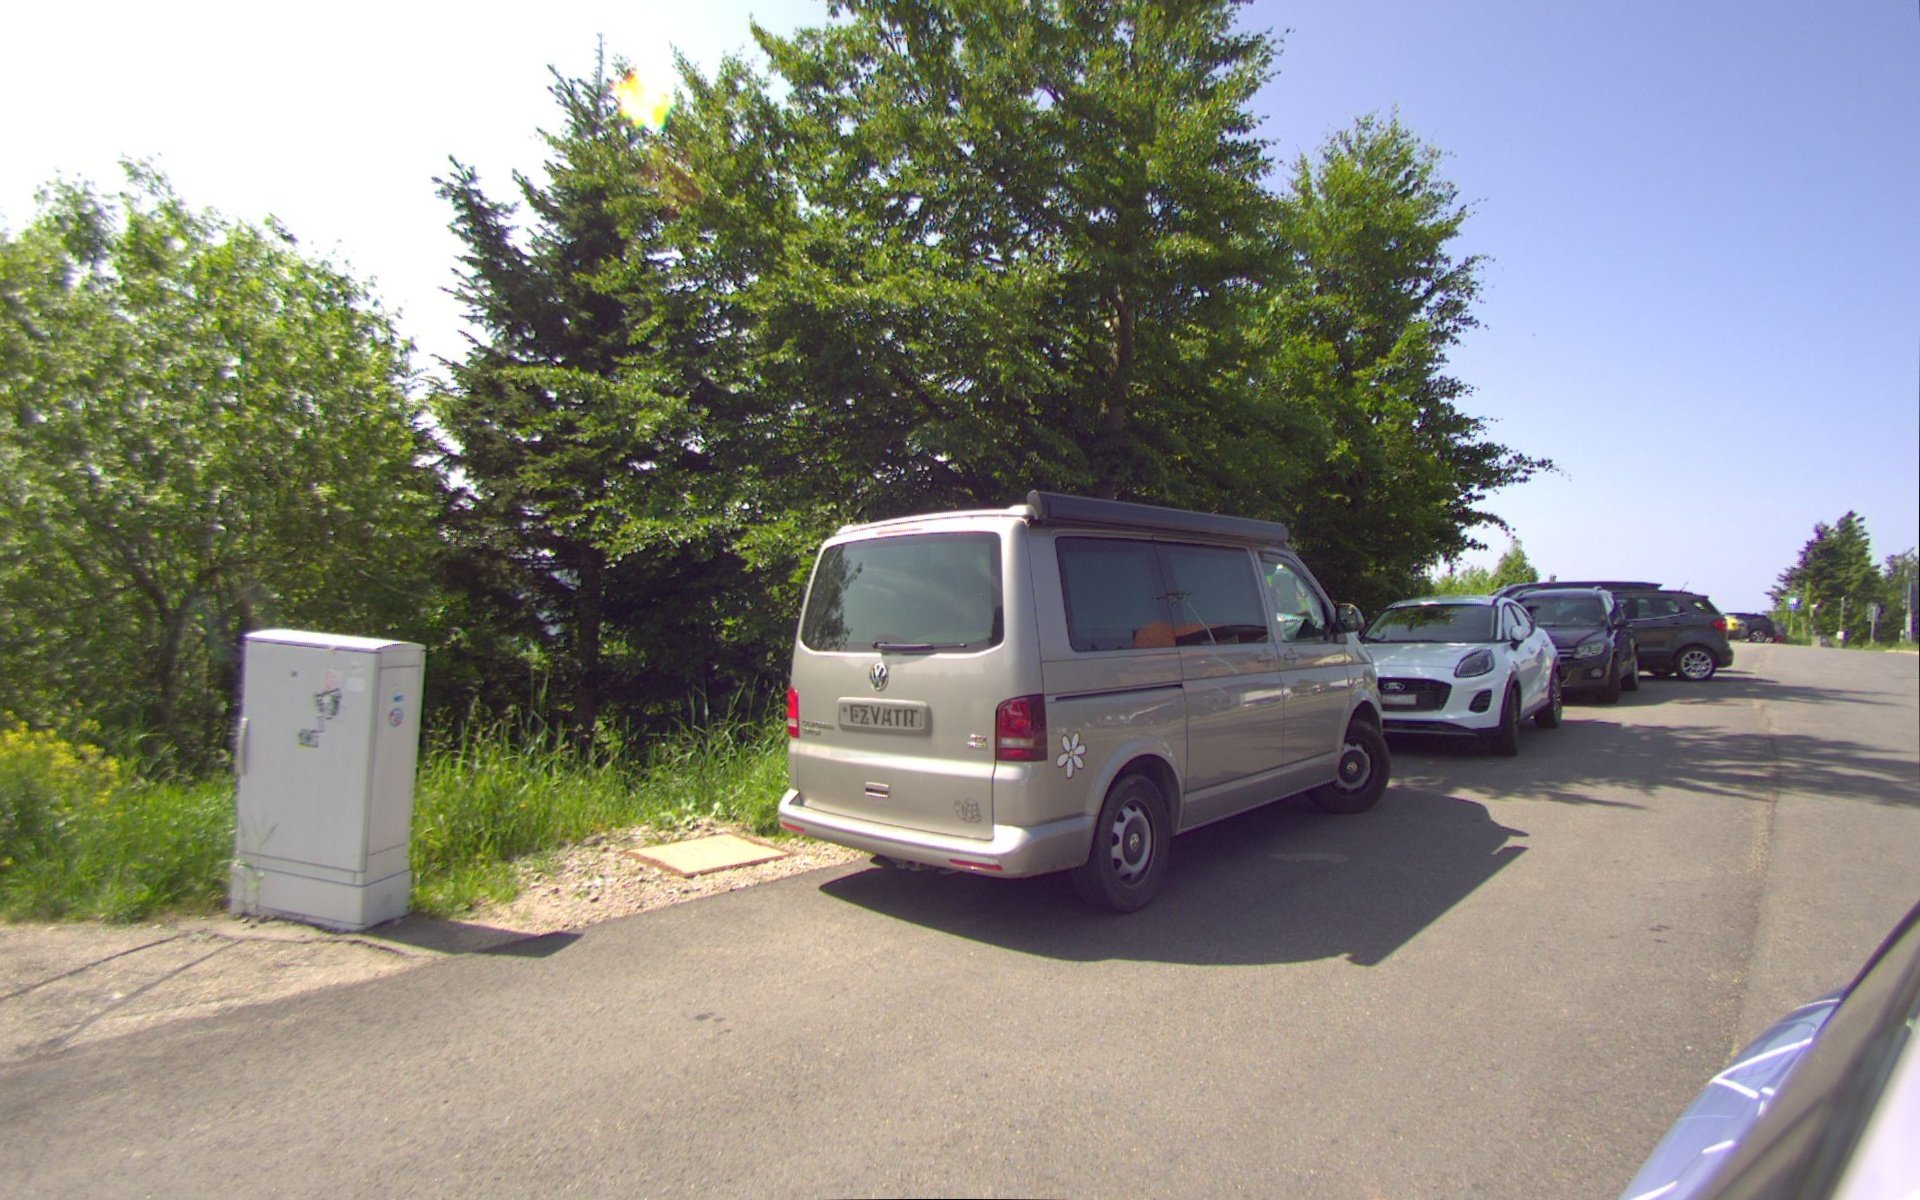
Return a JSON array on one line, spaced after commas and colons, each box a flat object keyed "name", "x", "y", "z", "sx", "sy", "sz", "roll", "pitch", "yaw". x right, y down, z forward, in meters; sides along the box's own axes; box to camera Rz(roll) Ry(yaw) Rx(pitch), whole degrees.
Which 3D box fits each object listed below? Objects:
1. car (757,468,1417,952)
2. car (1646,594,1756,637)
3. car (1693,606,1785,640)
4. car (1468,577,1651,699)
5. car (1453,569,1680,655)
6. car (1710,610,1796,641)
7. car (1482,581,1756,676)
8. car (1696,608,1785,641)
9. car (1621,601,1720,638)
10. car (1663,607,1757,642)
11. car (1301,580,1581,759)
[{"name": "car", "x": 1.132, "y": 0.470, "z": 6.419, "sx": 1.856, "sy": 1.960, "sz": 4.537, "roll": -2, "pitch": -2, "yaw": 43}, {"name": "car", "x": 38.736, "y": 0.761, "z": 52.968, "sx": 4.446, "sy": 1.949, "sz": 1.847, "roll": 4, "pitch": 2, "yaw": 43}, {"name": "car", "x": 43.583, "y": 1.254, "z": 56.642, "sx": 3.900, "sy": 1.634, "sz": 1.847, "roll": 4, "pitch": 2, "yaw": 43}, {"name": "car", "x": 9.363, "y": 0.524, "z": 15.658, "sx": 1.867, "sy": 1.639, "sz": 3.943, "roll": -1, "pitch": -1, "yaw": 39}, {"name": "car", "x": 14.578, "y": 0.309, "z": 24.647, "sx": 4.406, "sy": 1.950, "sz": 1.863, "roll": -1, "pitch": -1, "yaw": 21}, {"name": "car", "x": 48.090, "y": 1.517, "z": 61.413, "sx": 3.900, "sy": 1.634, "sz": 1.847, "roll": 4, "pitch": 2, "yaw": 43}, {"name": "car", "x": 12.179, "y": 0.528, "z": 19.048, "sx": 3.951, "sy": 1.639, "sz": 1.863, "roll": -1, "pitch": -1, "yaw": 21}, {"name": "car", "x": 45.215, "y": 1.366, "z": 58.629, "sx": 3.900, "sy": 1.634, "sz": 1.847, "roll": 4, "pitch": 2, "yaw": 43}, {"name": "car", "x": 36.218, "y": 0.943, "z": 51.613, "sx": 3.900, "sy": 1.634, "sz": 1.847, "roll": 4, "pitch": 2, "yaw": 43}, {"name": "car", "x": 40.929, "y": 1.276, "z": 55.251, "sx": 3.900, "sy": 1.634, "sz": 1.847, "roll": 4, "pitch": 2, "yaw": 43}, {"name": "car", "x": 5.348, "y": 0.625, "z": 10.991, "sx": 1.867, "sy": 1.567, "sz": 3.943, "roll": -1, "pitch": -1, "yaw": 39}]
